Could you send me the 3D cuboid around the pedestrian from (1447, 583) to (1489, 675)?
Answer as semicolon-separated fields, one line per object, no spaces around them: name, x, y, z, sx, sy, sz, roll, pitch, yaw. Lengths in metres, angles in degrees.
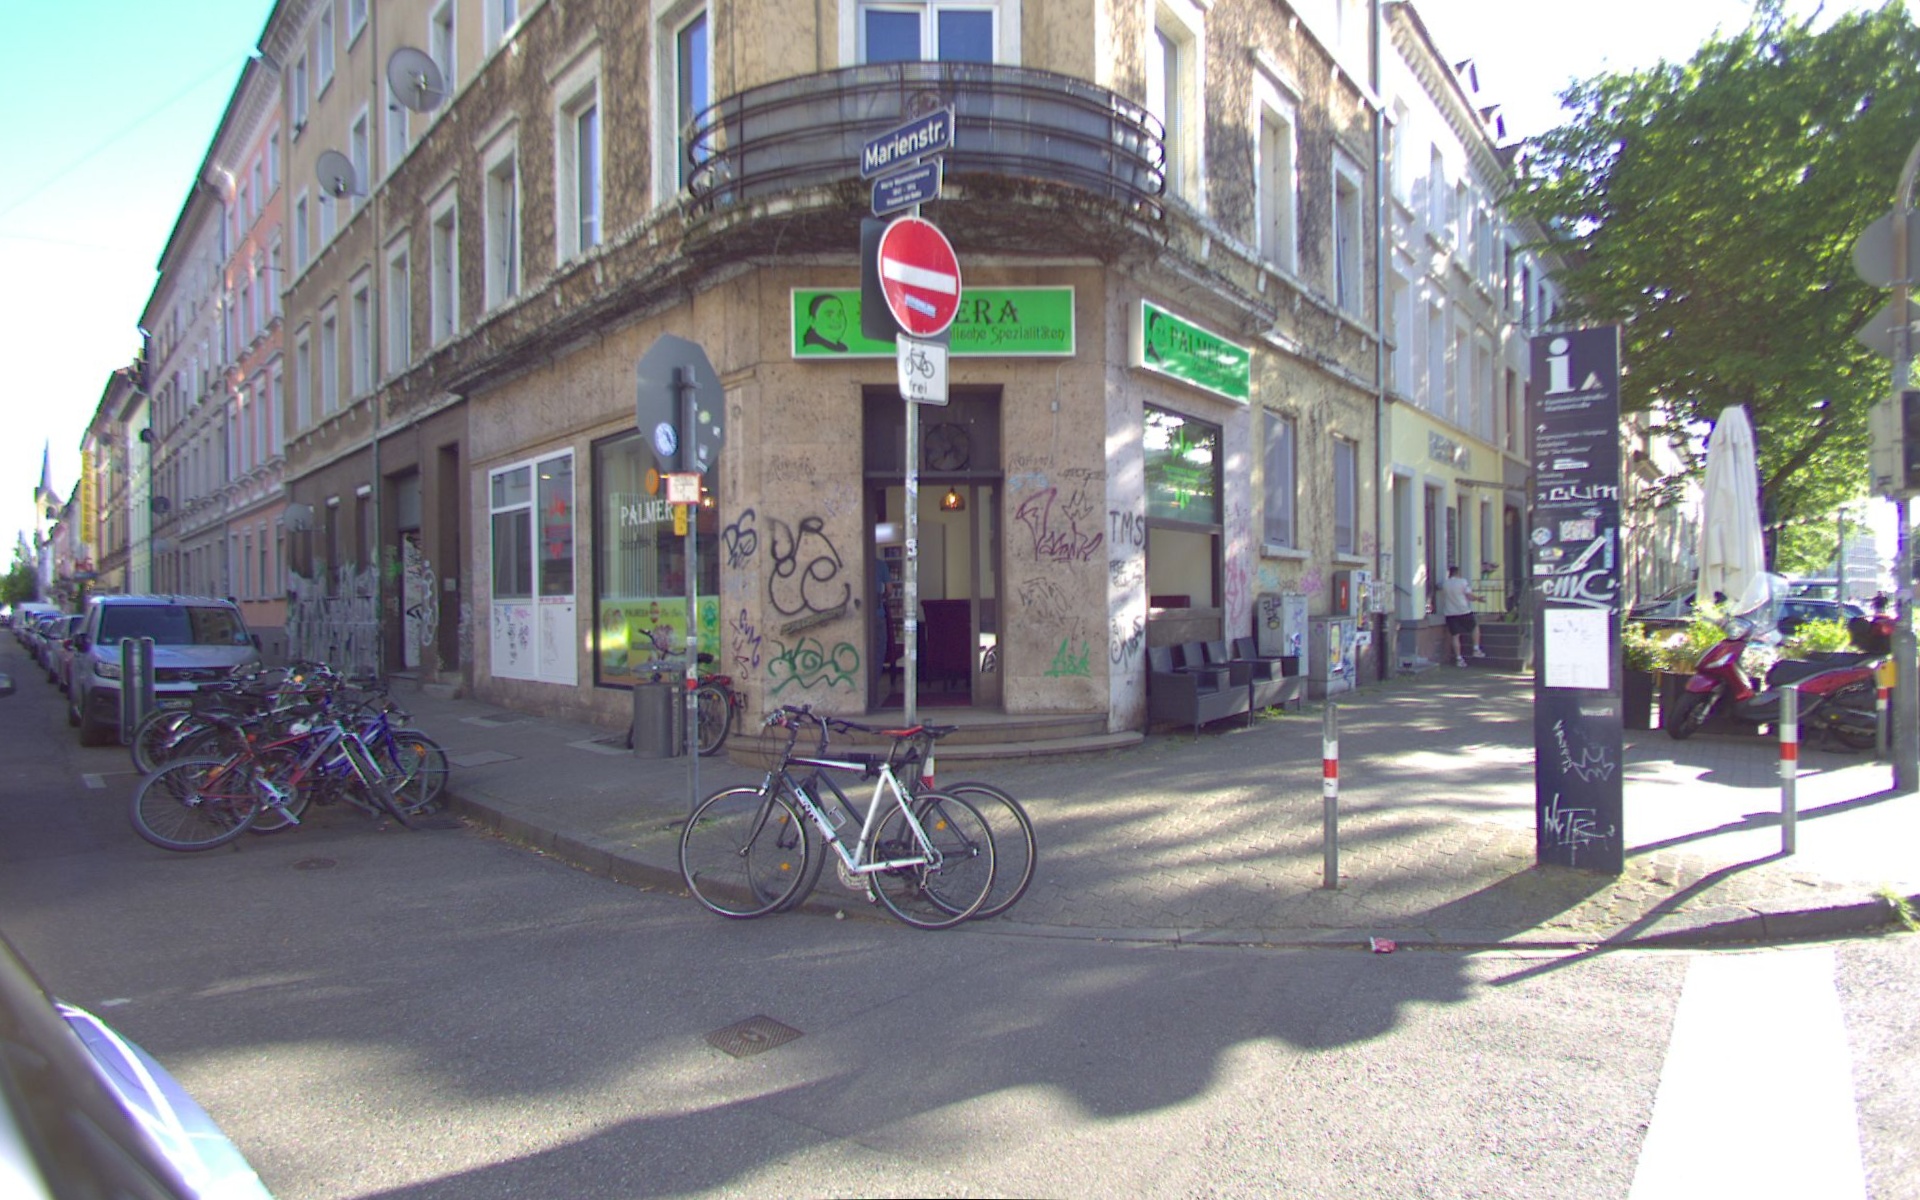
pedestrian;9.325;0.531;18.575;0.539;1.655;0.563;-3;-2;37

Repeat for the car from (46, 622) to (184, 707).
car;-16.471;1.183;19.662;1.660;1.485;4.205;3;-3;-45

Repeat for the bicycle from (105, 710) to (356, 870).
bicycle;-4.759;1.201;6.674;0.371;0.824;1.297;-2;-1;36

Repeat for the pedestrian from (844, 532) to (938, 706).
pedestrian;-0.718;0.206;10.676;0.742;1.754;0.752;-1;-1;18

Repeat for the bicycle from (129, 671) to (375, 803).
bicycle;-6.236;1.163;8.992;0.443;0.969;1.744;-2;-1;45

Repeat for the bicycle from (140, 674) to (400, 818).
bicycle;-5.701;1.158;8.470;0.480;0.969;1.750;-2;-1;34

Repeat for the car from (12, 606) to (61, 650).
car;-57.941;1.737;63.451;2.064;2.611;5.846;0;-1;-44

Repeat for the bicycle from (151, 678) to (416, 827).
bicycle;-5.411;1.177;8.200;0.427;0.969;1.747;-2;-1;38

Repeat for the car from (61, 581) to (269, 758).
car;-10.529;0.835;13.269;1.659;1.924;4.523;4;-4;-43

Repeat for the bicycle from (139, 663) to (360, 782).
bicycle;-7.016;1.171;10.063;1.744;0.996;0.464;0;-1;-45

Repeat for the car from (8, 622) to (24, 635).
car;-140.829;4.262;151.010;1.659;1.876;4.162;-2;0;-44

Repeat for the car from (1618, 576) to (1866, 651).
car;22.717;0.403;29.689;5.299;2.006;2.028;-2;-1;16

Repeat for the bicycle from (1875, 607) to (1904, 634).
bicycle;35.240;0.765;38.386;0.611;0.960;1.859;-2;-1;38

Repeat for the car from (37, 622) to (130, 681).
car;-24.356;1.395;28.094;3.613;1.504;1.660;-2;-1;44

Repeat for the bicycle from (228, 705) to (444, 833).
bicycle;-4.803;1.270;7.869;0.361;0.824;1.374;-2;-3;36

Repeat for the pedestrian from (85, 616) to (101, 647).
pedestrian;-51.291;1.857;59.864;0.617;1.844;0.595;-2;0;-43

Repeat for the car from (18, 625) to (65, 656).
car;-45.609;1.969;50.245;1.659;1.426;3.863;0;-1;-43

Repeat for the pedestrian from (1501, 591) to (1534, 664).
pedestrian;12.850;0.621;23.321;0.539;1.655;0.563;-3;-2;37

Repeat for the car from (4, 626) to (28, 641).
car;-90.356;3.170;96.848;1.659;1.400;3.863;0;-1;-43

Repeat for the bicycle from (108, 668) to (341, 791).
bicycle;-6.892;1.179;9.559;0.405;0.969;1.744;-2;-1;45

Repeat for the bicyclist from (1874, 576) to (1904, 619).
bicyclist;35.201;-0.091;38.367;0.726;1.584;1.015;-2;-1;38

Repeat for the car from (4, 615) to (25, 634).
car;-161.567;4.201;172.870;2.528;3.070;7.067;-2;0;-44

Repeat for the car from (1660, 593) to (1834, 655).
car;21.215;0.636;27.415;3.295;1.514;1.680;-1;2;16

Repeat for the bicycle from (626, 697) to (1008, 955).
bicycle;-0.645;1.038;4.727;1.667;1.053;0.457;-3;-1;6

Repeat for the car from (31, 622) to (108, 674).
car;-27.739;1.442;31.487;1.659;1.474;4.317;0;-1;-43

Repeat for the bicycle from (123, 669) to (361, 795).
bicycle;-6.552;1.165;9.309;0.422;0.969;1.744;-2;-1;45

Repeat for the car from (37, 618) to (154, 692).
car;-19.630;1.193;22.966;2.959;1.561;1.661;-1;-2;43

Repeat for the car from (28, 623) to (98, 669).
car;-31.115;1.552;35.166;1.658;1.474;3.867;0;-1;-39

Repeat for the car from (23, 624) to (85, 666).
car;-34.571;1.684;38.575;1.659;1.474;3.863;0;-1;-43

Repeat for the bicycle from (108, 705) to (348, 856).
bicycle;-5.000;1.196;6.979;0.355;0.824;1.297;-2;-1;36

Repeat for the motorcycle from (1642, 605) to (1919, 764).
motorcycle;7.981;0.761;9.492;2.394;1.361;0.998;1;-1;9

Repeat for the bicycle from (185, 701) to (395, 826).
bicycle;-5.182;1.233;7.894;0.381;0.824;1.297;-2;-3;36

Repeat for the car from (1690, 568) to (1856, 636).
car;33.424;0.050;41.865;5.188;2.597;2.218;2;1;36

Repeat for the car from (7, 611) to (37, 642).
car;-72.917;2.053;78.640;1.659;2.384;4.102;0;-1;-43

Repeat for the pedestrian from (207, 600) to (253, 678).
pedestrian;-17.921;0.945;24.847;0.779;1.844;0.595;-2;0;-44

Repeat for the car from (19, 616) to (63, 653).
car;-50.122;1.852;55.243;1.726;1.906;4.777;0;-1;-41

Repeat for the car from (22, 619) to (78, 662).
car;-38.199;1.652;42.469;1.659;1.696;3.863;0;-1;-43

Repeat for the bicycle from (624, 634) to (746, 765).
bicycle;-2.601;0.885;9.472;0.393;1.100;1.593;0;-1;-44

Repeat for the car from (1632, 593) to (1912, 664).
car;18.244;0.647;22.993;4.604;1.502;1.679;-1;-1;17

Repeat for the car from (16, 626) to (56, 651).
car;-53.855;2.224;58.968;1.659;1.400;3.863;0;-1;-43

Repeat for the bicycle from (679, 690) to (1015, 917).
bicycle;-0.560;1.022;5.199;1.643;1.054;0.450;-1;-1;6
